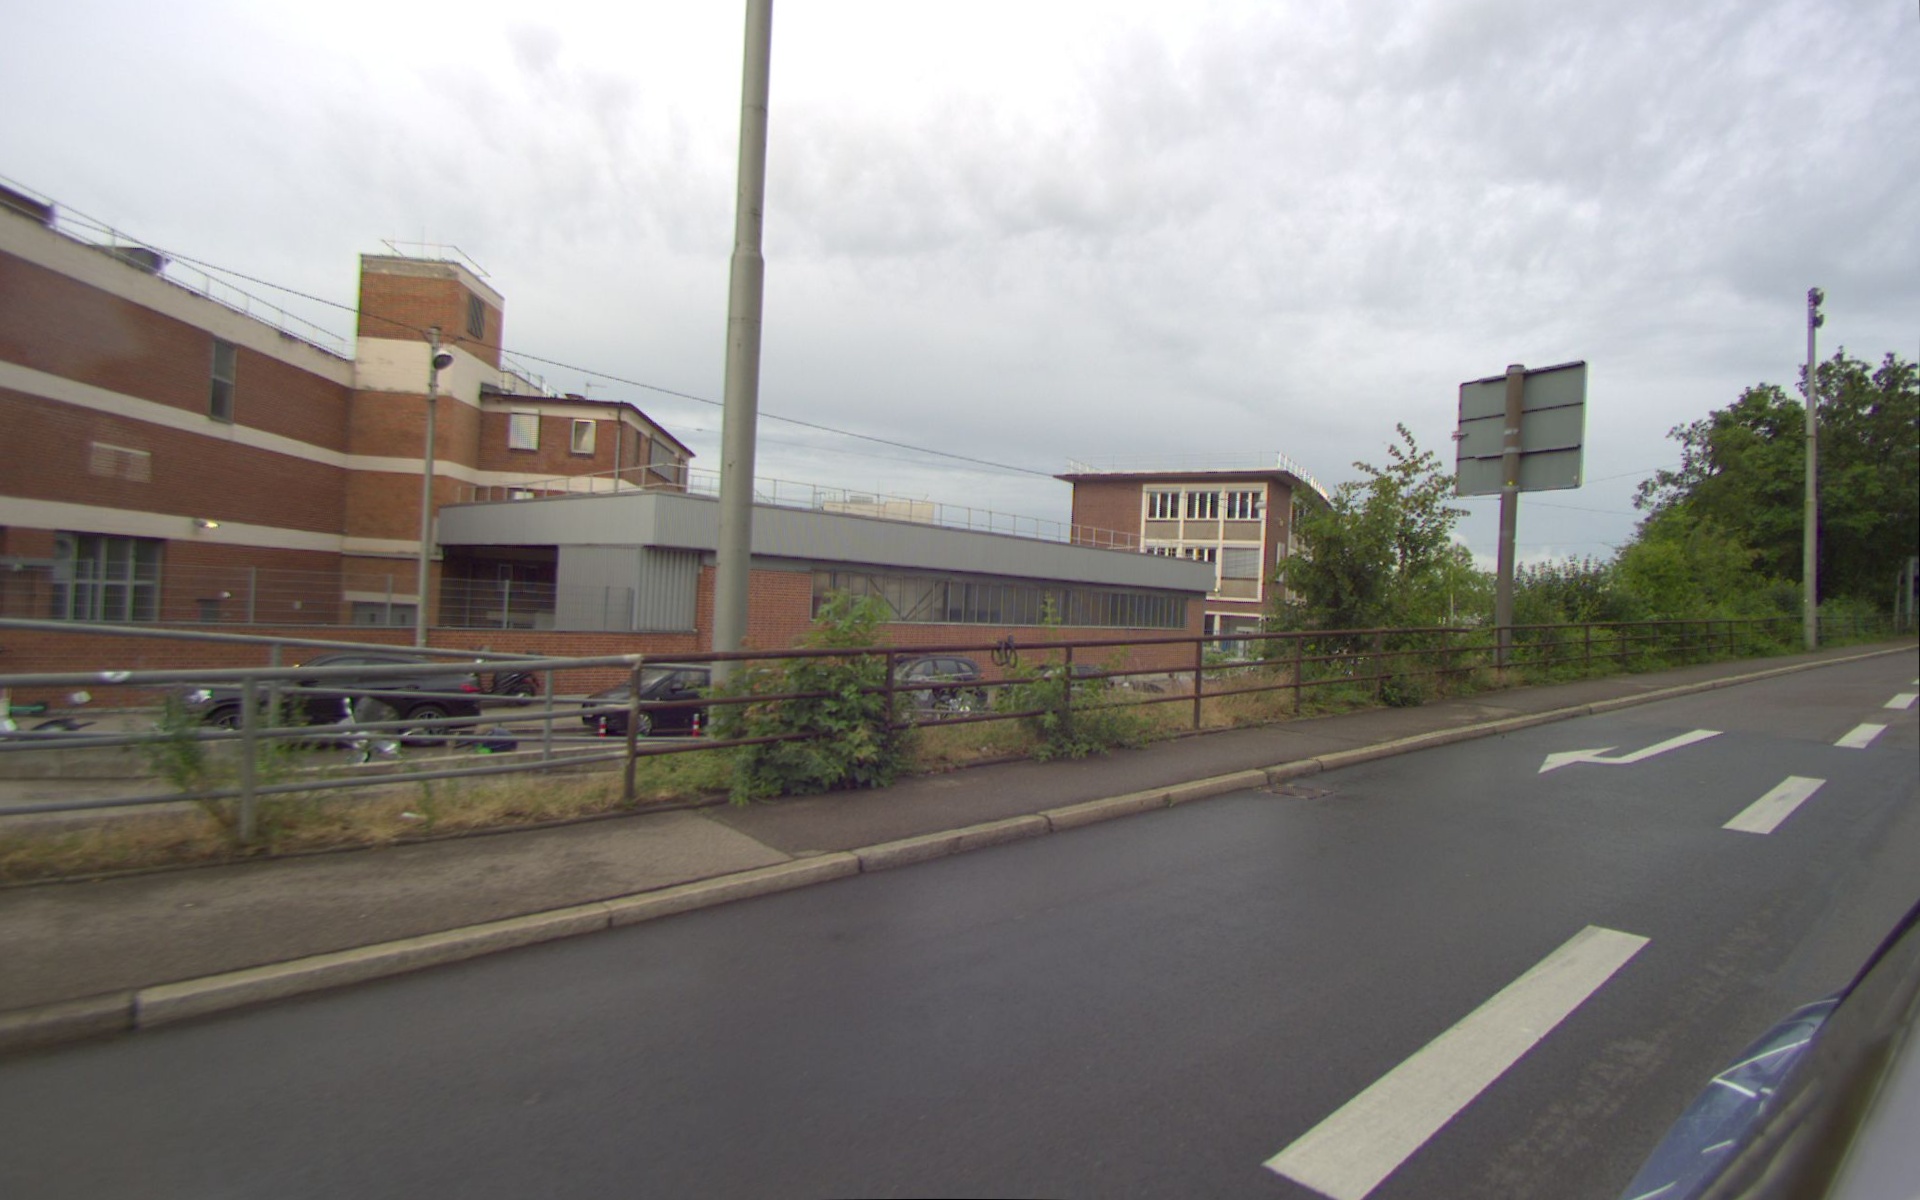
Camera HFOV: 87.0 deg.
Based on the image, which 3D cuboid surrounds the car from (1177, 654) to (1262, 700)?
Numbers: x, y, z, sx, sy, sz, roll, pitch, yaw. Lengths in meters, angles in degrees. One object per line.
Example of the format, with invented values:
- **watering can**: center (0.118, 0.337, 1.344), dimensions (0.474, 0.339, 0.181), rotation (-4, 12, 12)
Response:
- **car**: center (10.700, 3.115, 41.651), dimensions (1.699, 1.574, 3.794), rotation (1, 1, 45)

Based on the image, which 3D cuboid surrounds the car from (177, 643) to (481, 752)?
- **car**: center (-10.862, 1.632, 17.623), dimensions (4.190, 1.630, 1.700), rotation (4, -3, -43)

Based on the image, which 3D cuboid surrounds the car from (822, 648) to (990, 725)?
- **car**: center (-1.331, 2.166, 26.369), dimensions (4.355, 1.652, 1.635), rotation (1, 0, -43)

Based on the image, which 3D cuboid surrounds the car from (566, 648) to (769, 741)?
- **car**: center (-6.275, 1.958, 21.938), dimensions (3.864, 1.648, 1.700), rotation (1, 0, -43)

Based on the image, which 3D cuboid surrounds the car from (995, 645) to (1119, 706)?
- **car**: center (2.999, 2.237, 30.839), dimensions (3.792, 1.574, 1.700), rotation (1, 0, -43)
